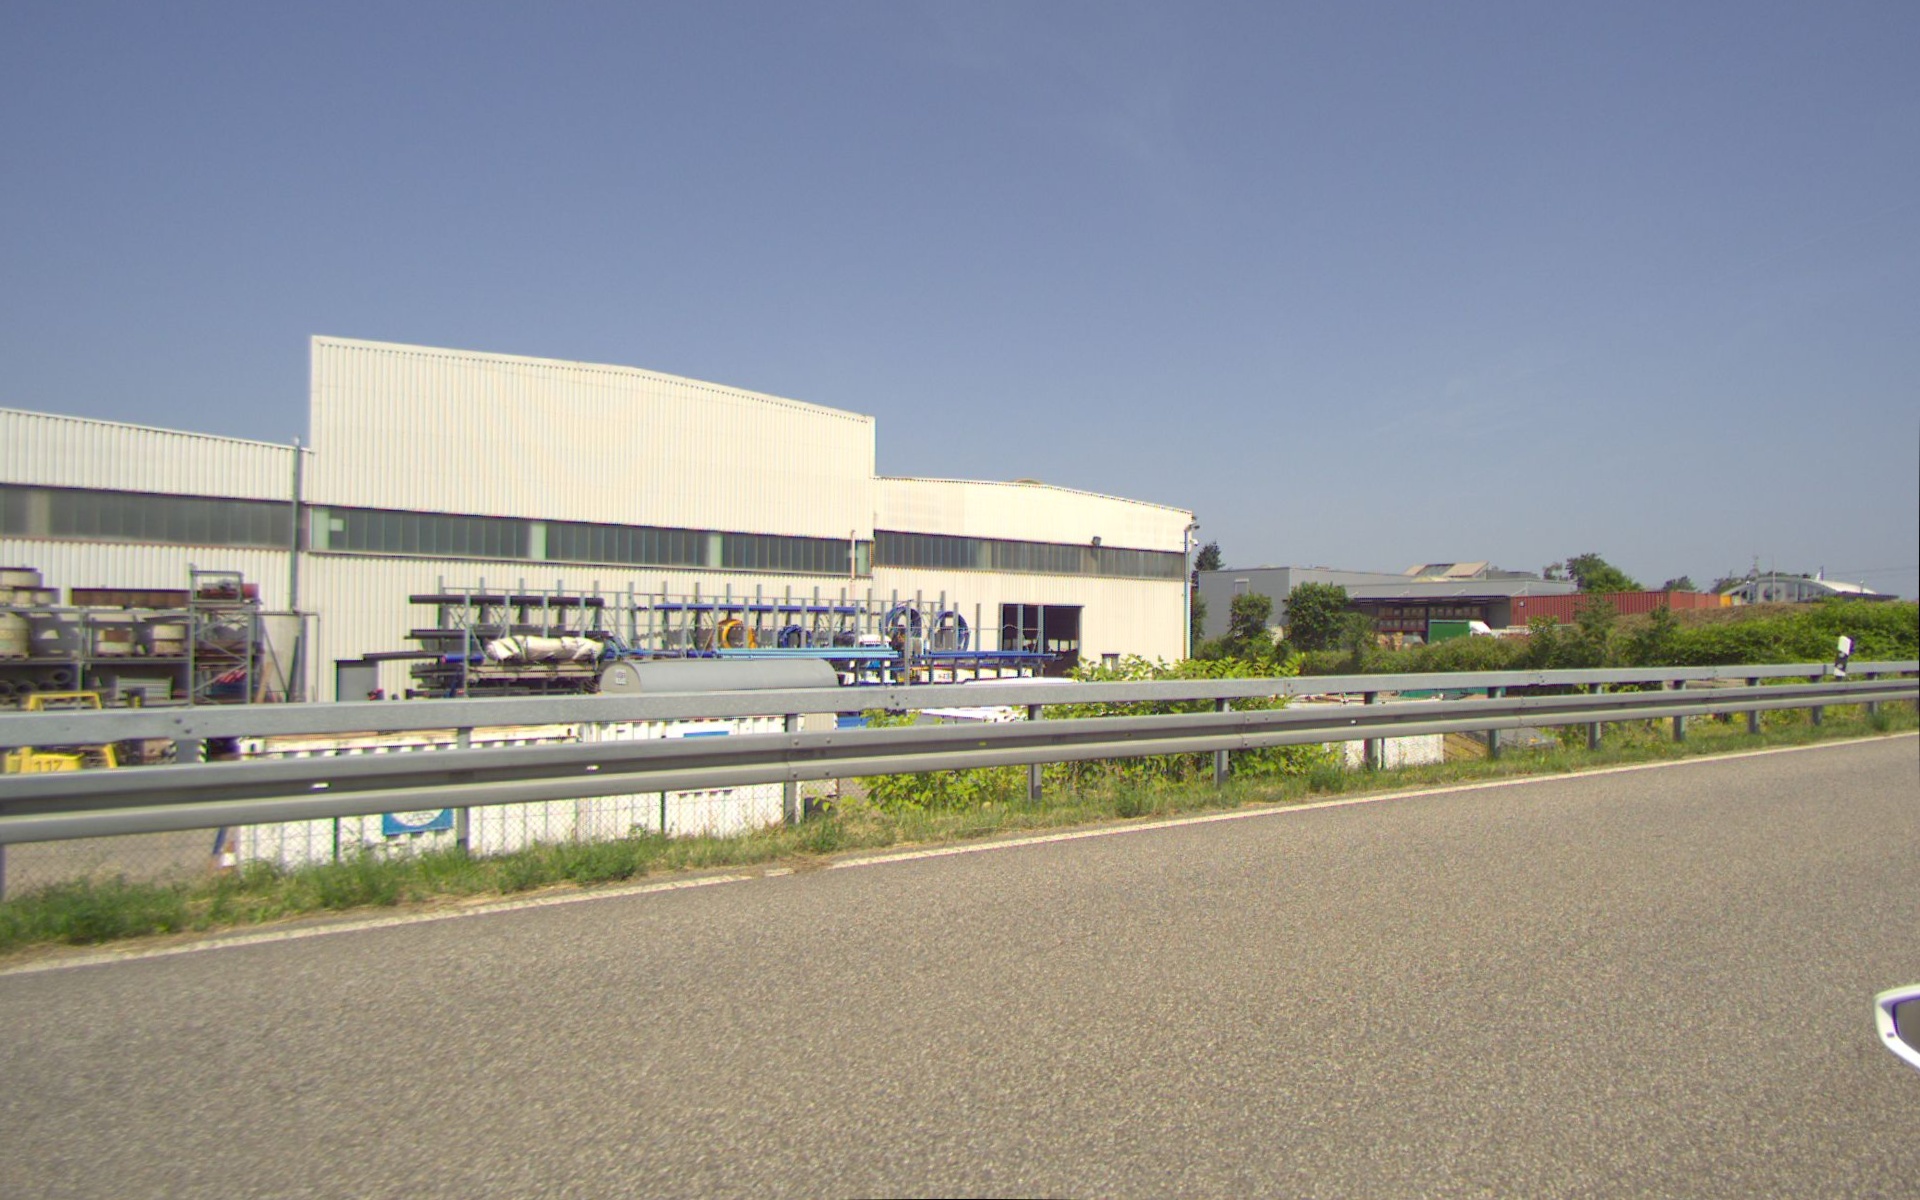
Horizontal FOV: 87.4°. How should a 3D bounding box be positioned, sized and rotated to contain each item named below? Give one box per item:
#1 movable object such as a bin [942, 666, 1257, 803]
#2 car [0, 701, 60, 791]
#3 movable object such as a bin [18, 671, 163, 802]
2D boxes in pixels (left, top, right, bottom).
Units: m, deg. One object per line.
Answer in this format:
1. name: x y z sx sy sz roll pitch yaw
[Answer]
1. movable object such as a bin: 2.290 2.266 18.504 2.425 2.045 5.859 1 -4 -35
2. car: -20.035 2.975 20.675 1.708 1.540 3.962 2 -3 -35
3. movable object such as a bin: -17.289 2.603 20.141 1.835 2.040 3.835 2 0 -36
